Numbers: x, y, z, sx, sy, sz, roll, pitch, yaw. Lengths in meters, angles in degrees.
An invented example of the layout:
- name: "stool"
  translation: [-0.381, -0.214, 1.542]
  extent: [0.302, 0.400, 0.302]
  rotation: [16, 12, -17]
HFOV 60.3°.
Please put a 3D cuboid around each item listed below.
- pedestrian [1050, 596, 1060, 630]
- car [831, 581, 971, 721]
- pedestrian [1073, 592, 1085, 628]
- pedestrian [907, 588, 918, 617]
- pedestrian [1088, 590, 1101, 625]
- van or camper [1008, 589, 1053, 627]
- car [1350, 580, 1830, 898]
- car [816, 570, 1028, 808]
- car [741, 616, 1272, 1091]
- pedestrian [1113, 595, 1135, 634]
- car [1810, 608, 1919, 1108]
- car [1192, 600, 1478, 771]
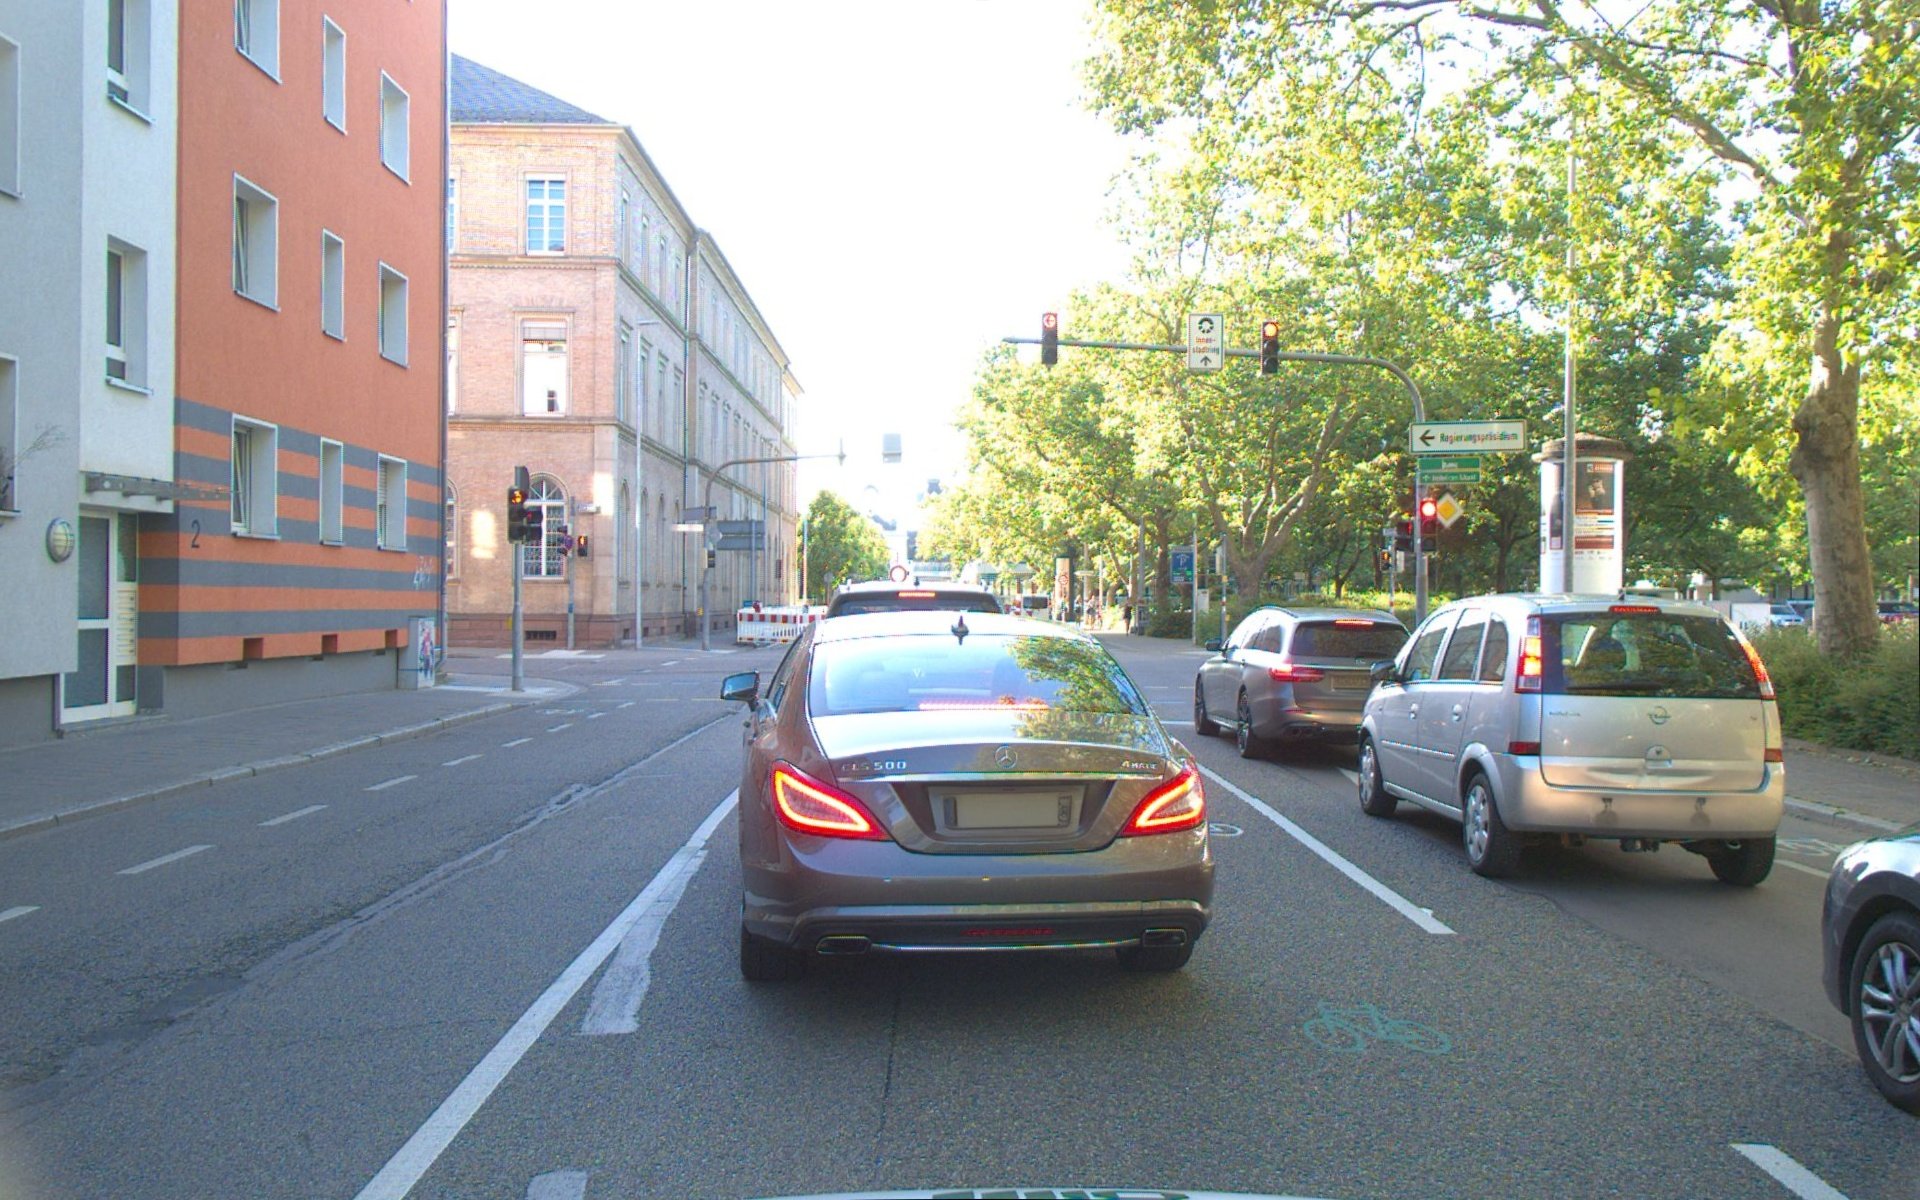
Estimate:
- name: "pedestrian"
  translation: [5.798, 0.785, 100.729]
  extent: [0.528, 2.049, 0.473]
  rotation: [1, -1, -1]
- name: "car"
  translation: [-0.782, 0.646, 23.224]
  extent: [1.783, 1.793, 3.999]
  rotation: [0, 0, -1]
- name: "pedestrian"
  translation: [6.302, 0.521, 87.584]
  extent: [0.591, 1.853, 0.651]
  rotation: [1, 0, -1]
- name: "pedestrian"
  translation: [-3.337, 0.163, 117.092]
  extent: [0.710, 2.049, 0.748]
  rotation: [1, 0, -5]
- name: "pedestrian"
  translation: [7.093, 0.394, 87.440]
  extent: [0.591, 1.853, 0.651]
  rotation: [1, 0, -1]
- name: "van or camper"
  translation: [3.808, 0.423, 89.956]
  extent: [1.954, 1.975, 4.591]
  rotation: [1, 0, -4]
- name: "car"
  translation: [3.811, 0.736, 10.744]
  extent: [1.666, 1.631, 3.860]
  rotation: [2, 0, 1]
- name: "car"
  translation: [-0.361, 0.632, 13.701]
  extent: [1.487, 1.675, 3.878]
  rotation: [1, 0, -3]
- name: "car"
  translation: [-0.110, 0.849, 7.648]
  extent: [1.769, 1.482, 4.343]
  rotation: [0, 0, -8]
- name: "pedestrian"
  translation: [6.900, 0.618, 69.554]
  extent: [0.813, 1.634, 0.651]
  rotation: [1, 0, -1]
- name: "car"
  translation: [3.753, 0.818, 3.666]
  extent: [1.611, 1.508, 3.975]
  rotation: [2, 0, -1]
- name: "car"
  translation: [3.768, 0.784, 17.508]
  extent: [1.874, 1.490, 4.668]
  rotation: [2, 0, -1]
